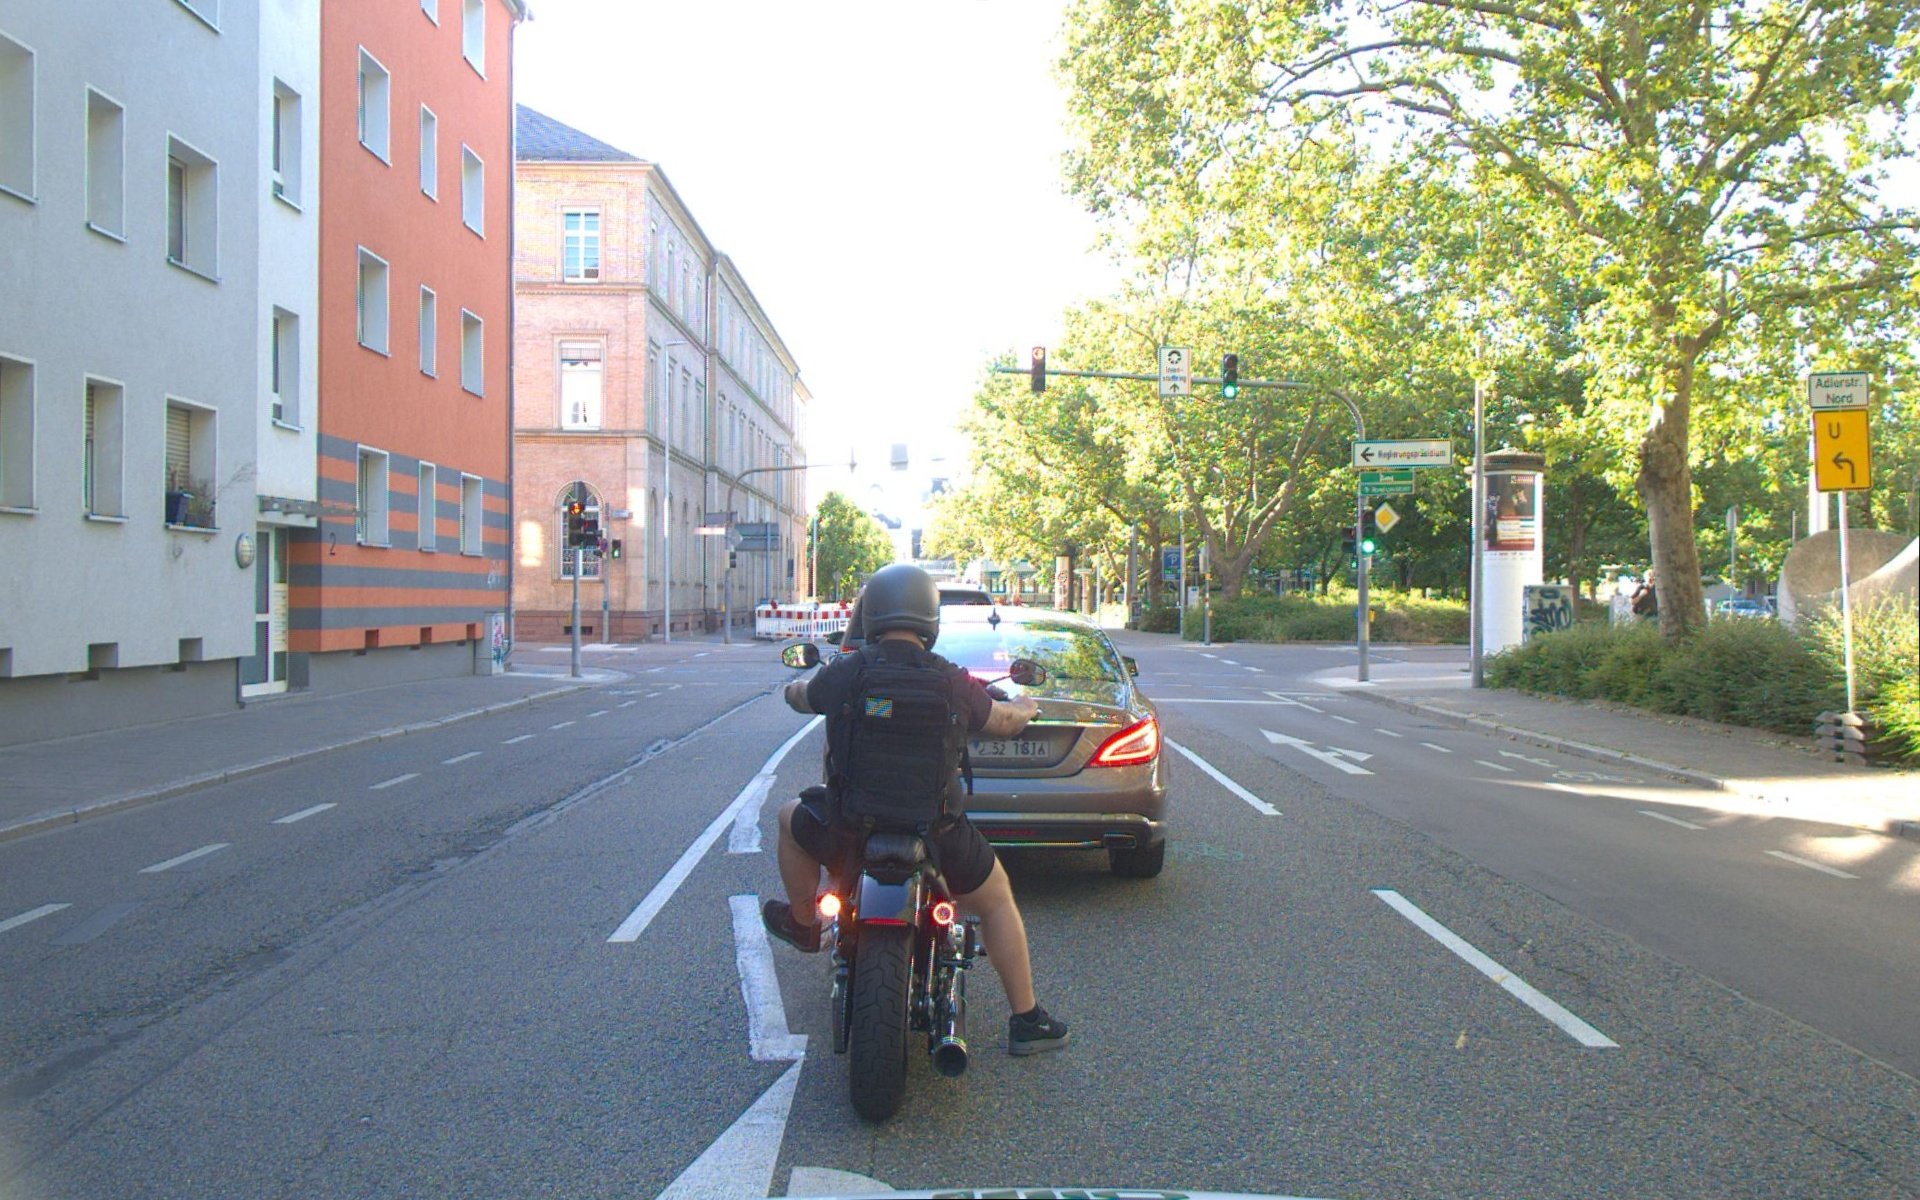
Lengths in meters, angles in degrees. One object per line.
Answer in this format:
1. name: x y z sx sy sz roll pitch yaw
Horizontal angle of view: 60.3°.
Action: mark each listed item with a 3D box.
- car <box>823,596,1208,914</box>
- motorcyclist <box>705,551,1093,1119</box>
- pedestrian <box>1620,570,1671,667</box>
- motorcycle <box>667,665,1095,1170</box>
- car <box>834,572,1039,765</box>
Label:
1. car: 0.237 0.735 9.660 1.785 1.462 3.805 1 0 -1
2. motorcyclist: -0.138 0.665 5.267 1.076 1.593 1.072 1 0 5
3. pedestrian: 13.111 0.353 31.641 0.720 1.809 0.730 1 -1 7
4. motorcycle: -0.125 0.876 5.488 1.094 1.228 2.213 1 0 5
5. car: -0.236 0.627 16.932 1.825 1.707 3.999 1 0 -1
